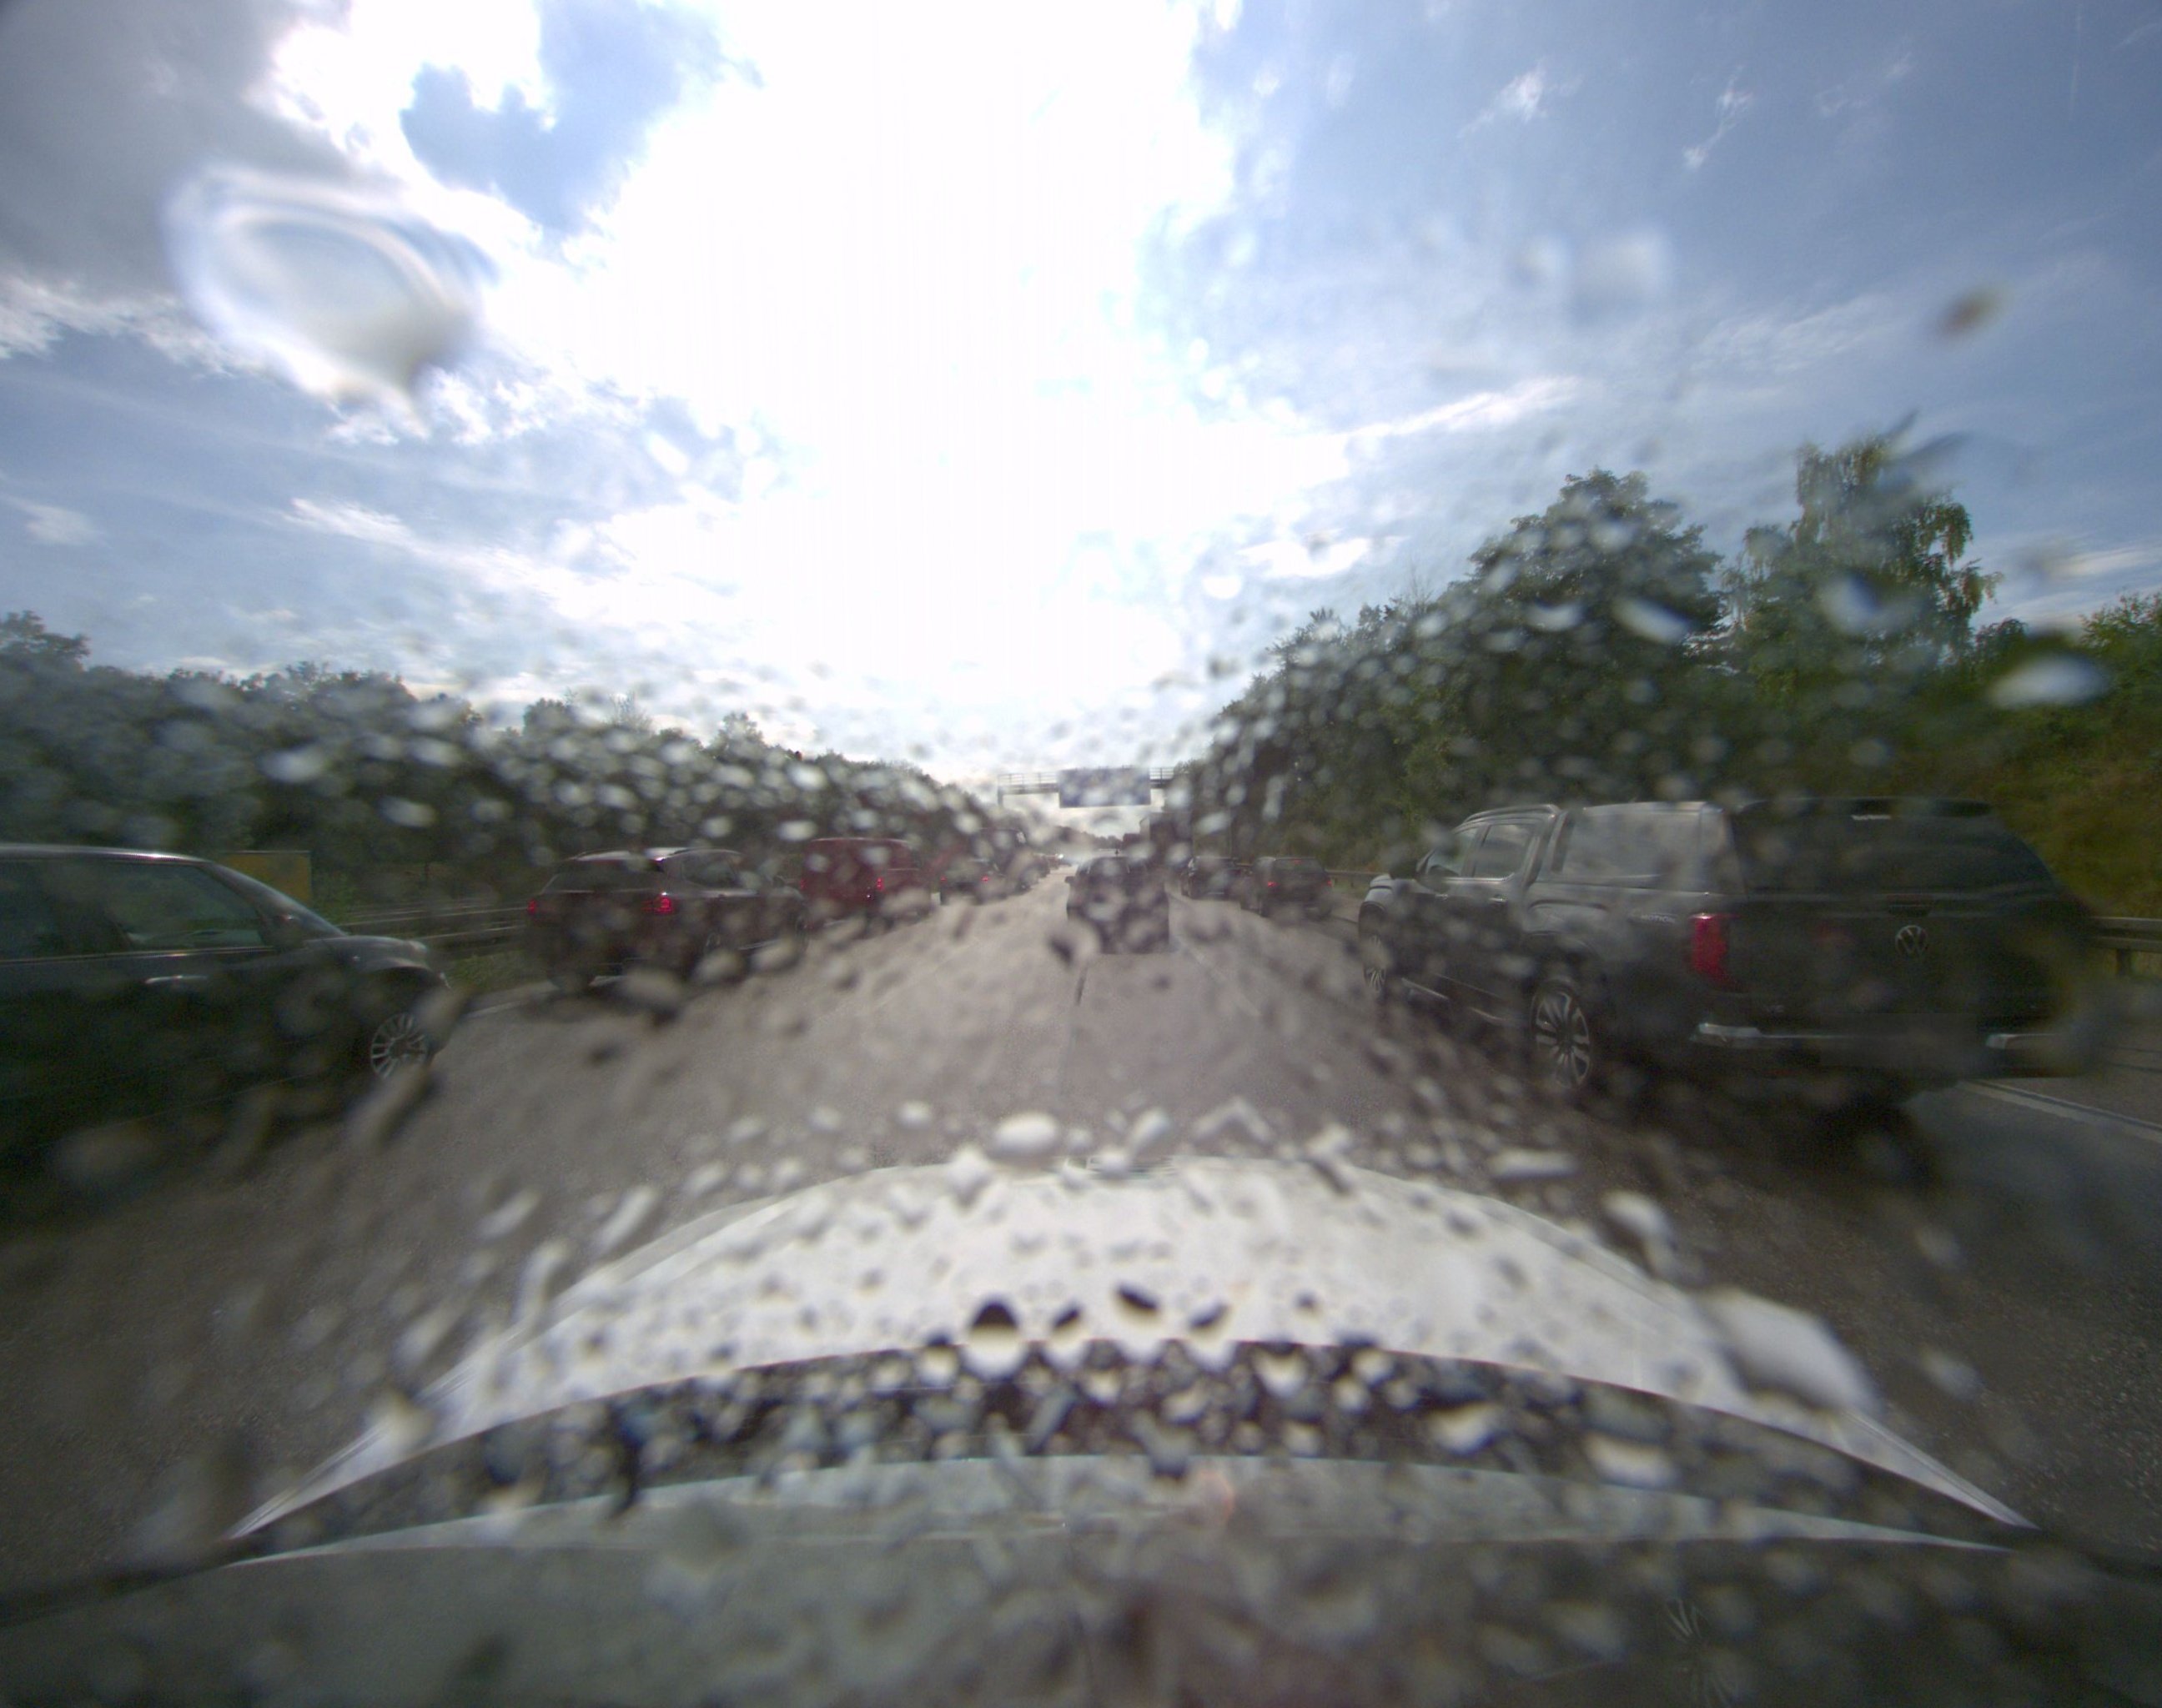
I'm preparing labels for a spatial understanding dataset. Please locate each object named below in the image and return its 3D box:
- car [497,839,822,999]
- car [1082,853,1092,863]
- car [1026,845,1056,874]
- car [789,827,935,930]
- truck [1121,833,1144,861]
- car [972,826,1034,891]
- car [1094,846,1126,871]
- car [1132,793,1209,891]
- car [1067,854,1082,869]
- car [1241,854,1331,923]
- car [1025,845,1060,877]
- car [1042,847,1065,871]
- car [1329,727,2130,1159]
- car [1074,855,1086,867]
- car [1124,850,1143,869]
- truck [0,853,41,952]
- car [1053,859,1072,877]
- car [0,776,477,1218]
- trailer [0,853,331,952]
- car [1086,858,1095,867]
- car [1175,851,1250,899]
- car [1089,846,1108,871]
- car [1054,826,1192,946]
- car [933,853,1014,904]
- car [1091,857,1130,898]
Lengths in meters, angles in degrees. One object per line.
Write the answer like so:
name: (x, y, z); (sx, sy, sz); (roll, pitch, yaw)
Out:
car: (-5.212, 0.703, 10.957); (1.902, 1.636, 4.616); (-2, -1, 0)
car: (1.277, 0.779, 170.692); (1.986, 2.115, 4.891); (0, -1, 2)
car: (-3.093, 0.433, 63.909); (1.986, 2.115, 4.891); (0, -1, 2)
car: (-4.832, 0.520, 18.756); (1.972, 2.054, 4.757); (0, -1, 1)
truck: (6.805, -0.911, 107.957); (2.765, 3.631, 5.919); (0, -1, 2)
car: (-3.254, 0.202, 35.176); (1.986, 2.615, 5.262); (0, -1, 2)
car: (1.782, 0.266, 51.364); (1.859, 1.516, 3.974); (0, -1, -1)
car: (5.854, -0.655, 56.944); (4.385, 5.830, 16.830); (0, 0, 3)
car: (-0.950, 1.124, 121.553); (1.986, 2.115, 4.891); (0, -1, 2)
car: (4.971, 0.787, 20.190); (1.583, 1.516, 3.982); (0, -1, 5)
car: (-2.566, 0.480, 55.569); (1.986, 2.115, 4.891); (0, -1, 2)
car: (-2.853, 0.522, 85.247); (1.986, 2.385, 5.262); (0, -1, 2)
car: (3.759, 0.417, 6.476); (1.935, 1.919, 5.652); (0, 0, 1)
car: (-0.222, 1.279, 148.094); (1.986, 2.115, 4.891); (0, -1, 2)
car: (6.047, 0.648, 94.246); (1.986, 2.115, 4.891); (0, -1, 2)
truck: (-47.235, 2.016, 31.873); (3.760, 4.117, 7.073); (-1, -1, 15)
car: (-2.243, 1.707, 101.020); (1.986, 2.115, 4.891); (0, -1, 2)
car: (-5.258, 0.595, 3.931); (1.687, 1.805, 3.976); (0, -1, 0)
trailer: (-45.061, 2.065, 40.056); (3.760, 4.117, 11.771); (-1, -1, 15)
car: (2.229, 1.987, 188.995); (1.986, 2.115, 4.891); (0, -1, 2)
car: (4.386, 0.673, 27.755); (1.859, 1.516, 3.974); (0, -1, -1)
car: (2.021, 0.530, 91.294); (1.986, 2.746, 5.262); (0, -1, 2)
car: (0.700, 0.542, 15.834); (2.267, 1.954, 4.820); (0, -1, 0)
car: (-3.547, 0.777, 27.746); (1.986, 1.565, 4.758); (0, 0, 2)
car: (1.330, 1.055, 38.163); (1.687, 1.805, 3.975); (0, -1, 0)
